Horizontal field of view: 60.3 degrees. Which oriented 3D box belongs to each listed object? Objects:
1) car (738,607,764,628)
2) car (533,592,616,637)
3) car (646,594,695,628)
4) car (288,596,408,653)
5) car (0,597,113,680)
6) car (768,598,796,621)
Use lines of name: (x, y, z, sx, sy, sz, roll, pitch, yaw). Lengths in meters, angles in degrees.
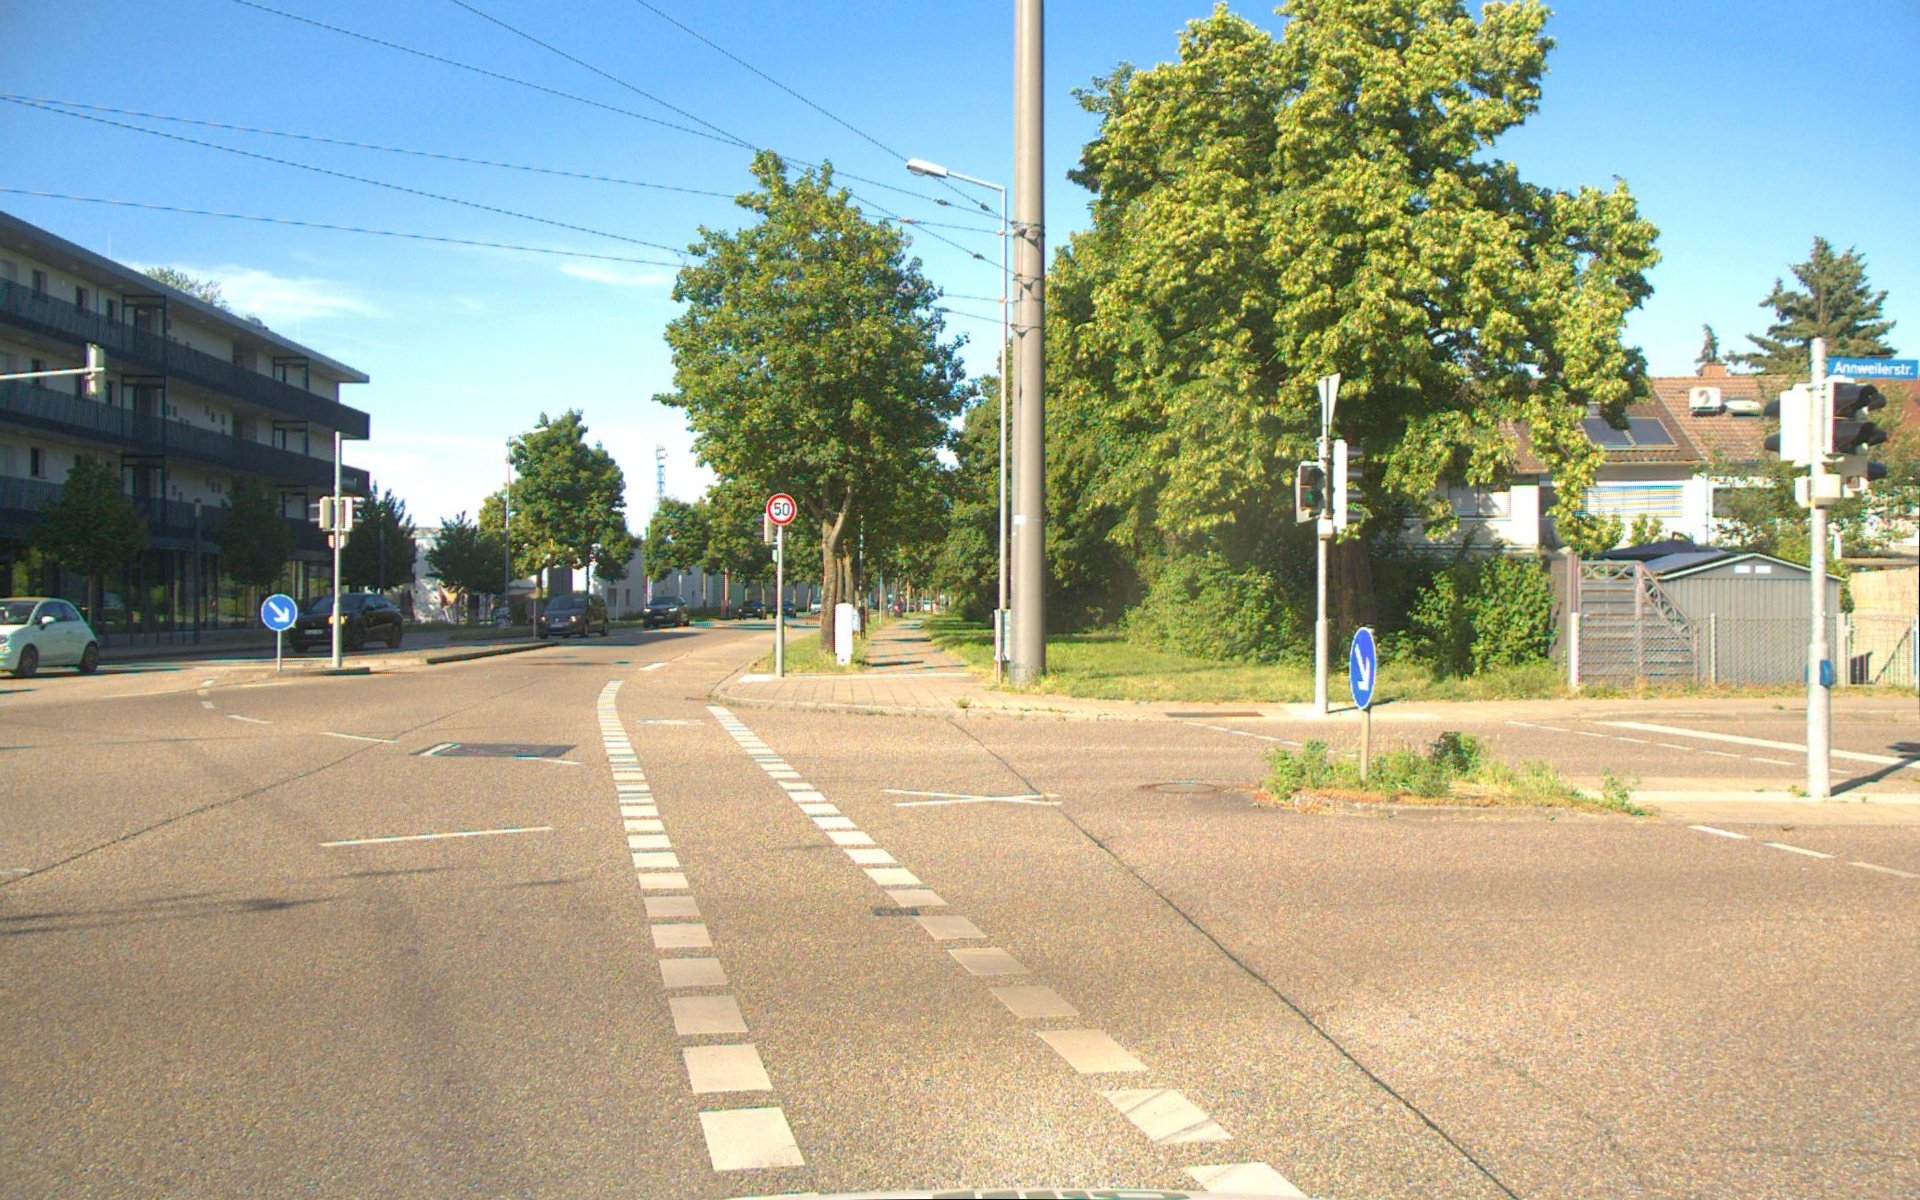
car: (-15.524, 1.290, 123.076, 1.645, 1.561, 3.998, 0, 0, -3)
car: (-14.222, 0.508, 61.215, 1.952, 1.599, 4.002, 0, 0, 3)
car: (-15.651, 0.565, 89.700, 1.954, 1.768, 5.196, 0, 0, -3)
car: (-17.719, 0.683, 48.105, 1.928, 1.561, 4.738, 0, 0, -3)
car: (-18.175, 0.726, 31.795, 1.953, 1.513, 3.543, -2, 0, -1)
car: (-14.969, 0.805, 139.523, 1.856, 1.789, 4.000, 2, 0, 0)
